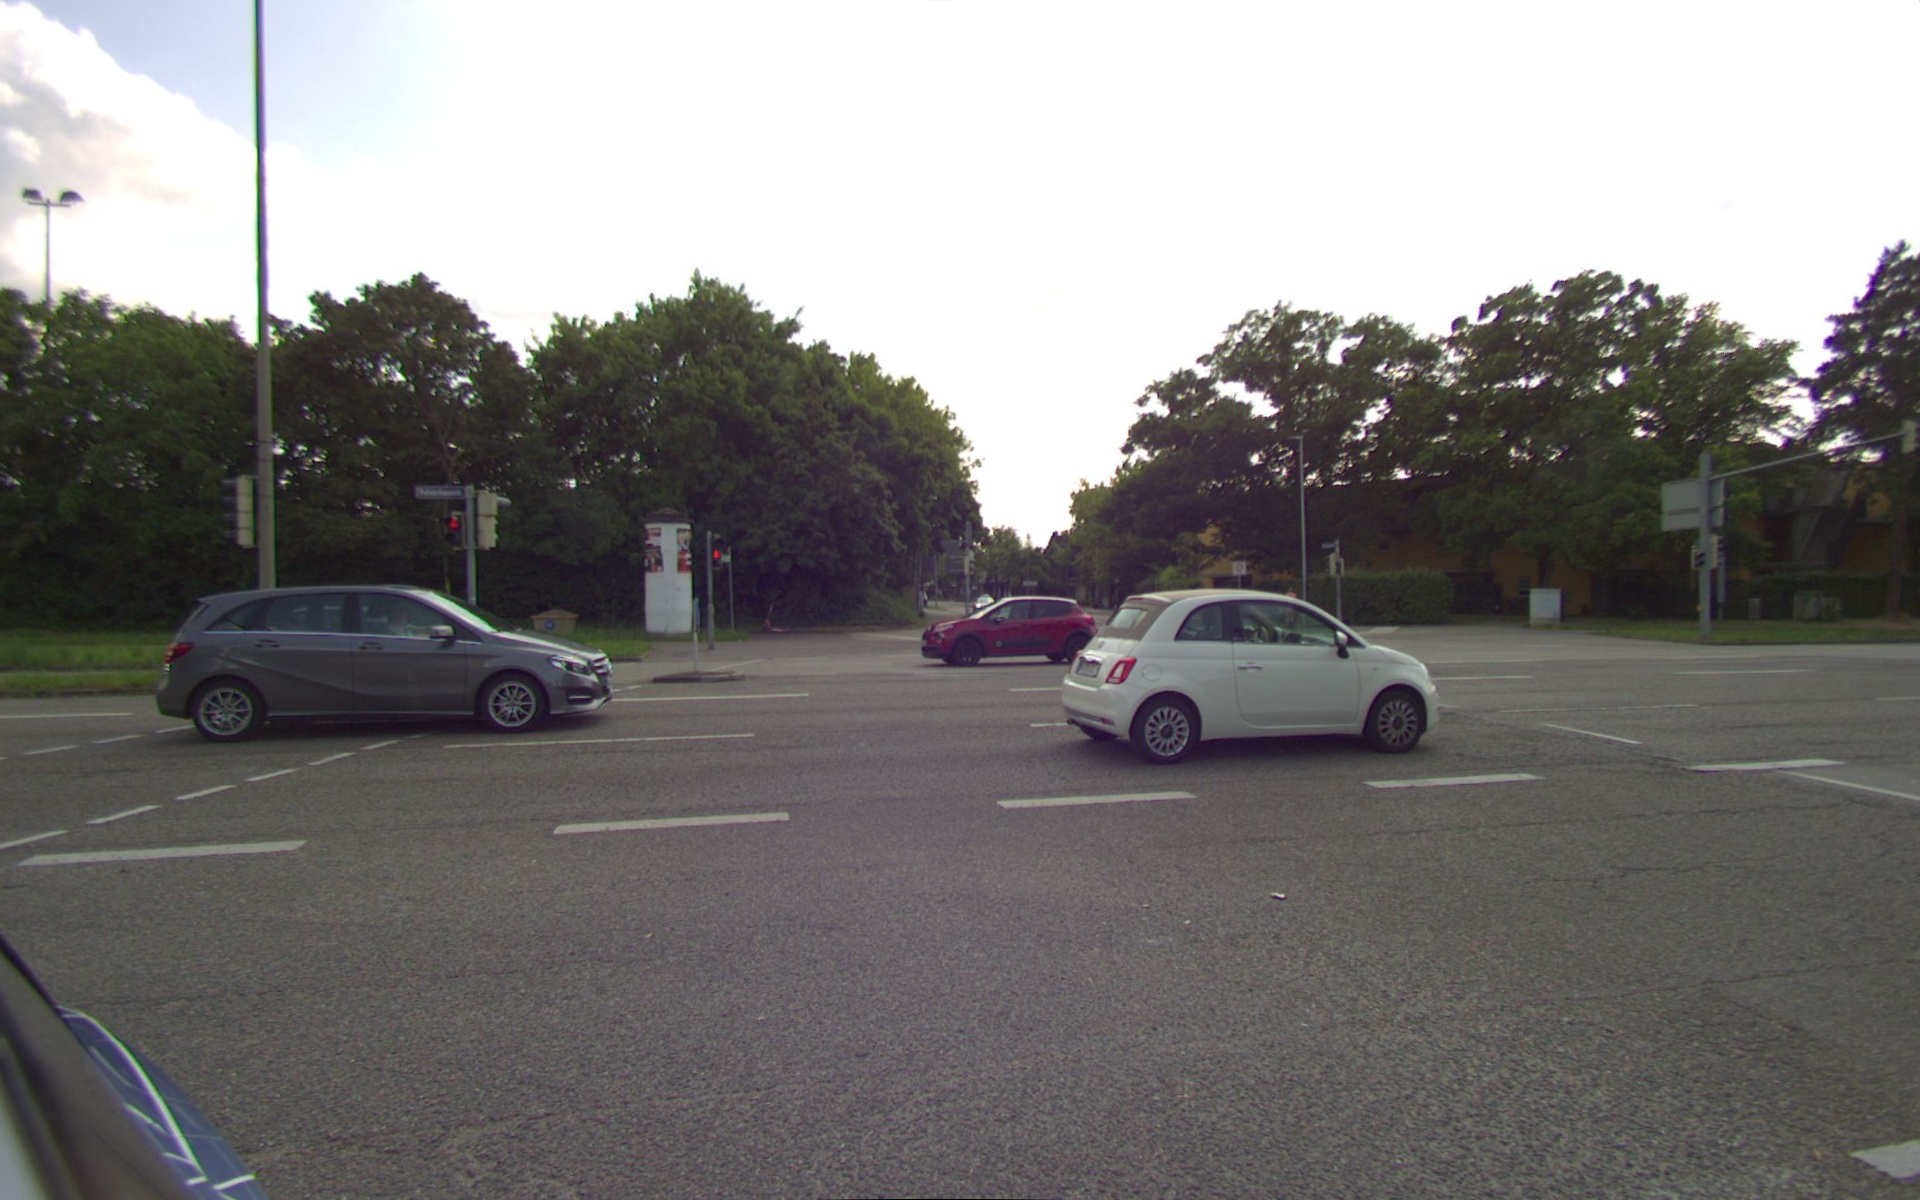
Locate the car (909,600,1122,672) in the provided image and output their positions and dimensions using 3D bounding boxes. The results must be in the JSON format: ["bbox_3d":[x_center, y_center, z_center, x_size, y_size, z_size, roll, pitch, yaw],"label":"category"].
[{"bbox_3d":[1.201,0.766,22.527,4.380,1.476,1.782,0,0,-15],"label":"car"}]

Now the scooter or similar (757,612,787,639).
[{"bbox_3d":[-6.790,0.911,36.545,1.020,0.949,0.297,1,1,-5],"label":"scooter or similar"}]

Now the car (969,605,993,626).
[{"bbox_3d":[1.667,1.228,80.611,1.706,1.439,4.002,1,2,-2],"label":"car"}]

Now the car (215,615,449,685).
[{"bbox_3d":[-13.431,1.036,21.877,4.012,1.383,1.604,0,0,-14],"label":"car"}]

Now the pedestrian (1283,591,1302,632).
[{"bbox_3d":[14.479,0.511,44.054,0.686,1.755,0.702,-1,-1,14],"label":"pedestrian"}]

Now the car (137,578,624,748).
[{"bbox_3d":[-6.000,0.585,11.027,4.288,1.631,1.708,0,1,-12],"label":"car"}]

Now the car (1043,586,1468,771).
[{"bbox_3d":[2.691,0.639,9.486,3.481,1.508,1.579,0,0,-13],"label":"car"}]
